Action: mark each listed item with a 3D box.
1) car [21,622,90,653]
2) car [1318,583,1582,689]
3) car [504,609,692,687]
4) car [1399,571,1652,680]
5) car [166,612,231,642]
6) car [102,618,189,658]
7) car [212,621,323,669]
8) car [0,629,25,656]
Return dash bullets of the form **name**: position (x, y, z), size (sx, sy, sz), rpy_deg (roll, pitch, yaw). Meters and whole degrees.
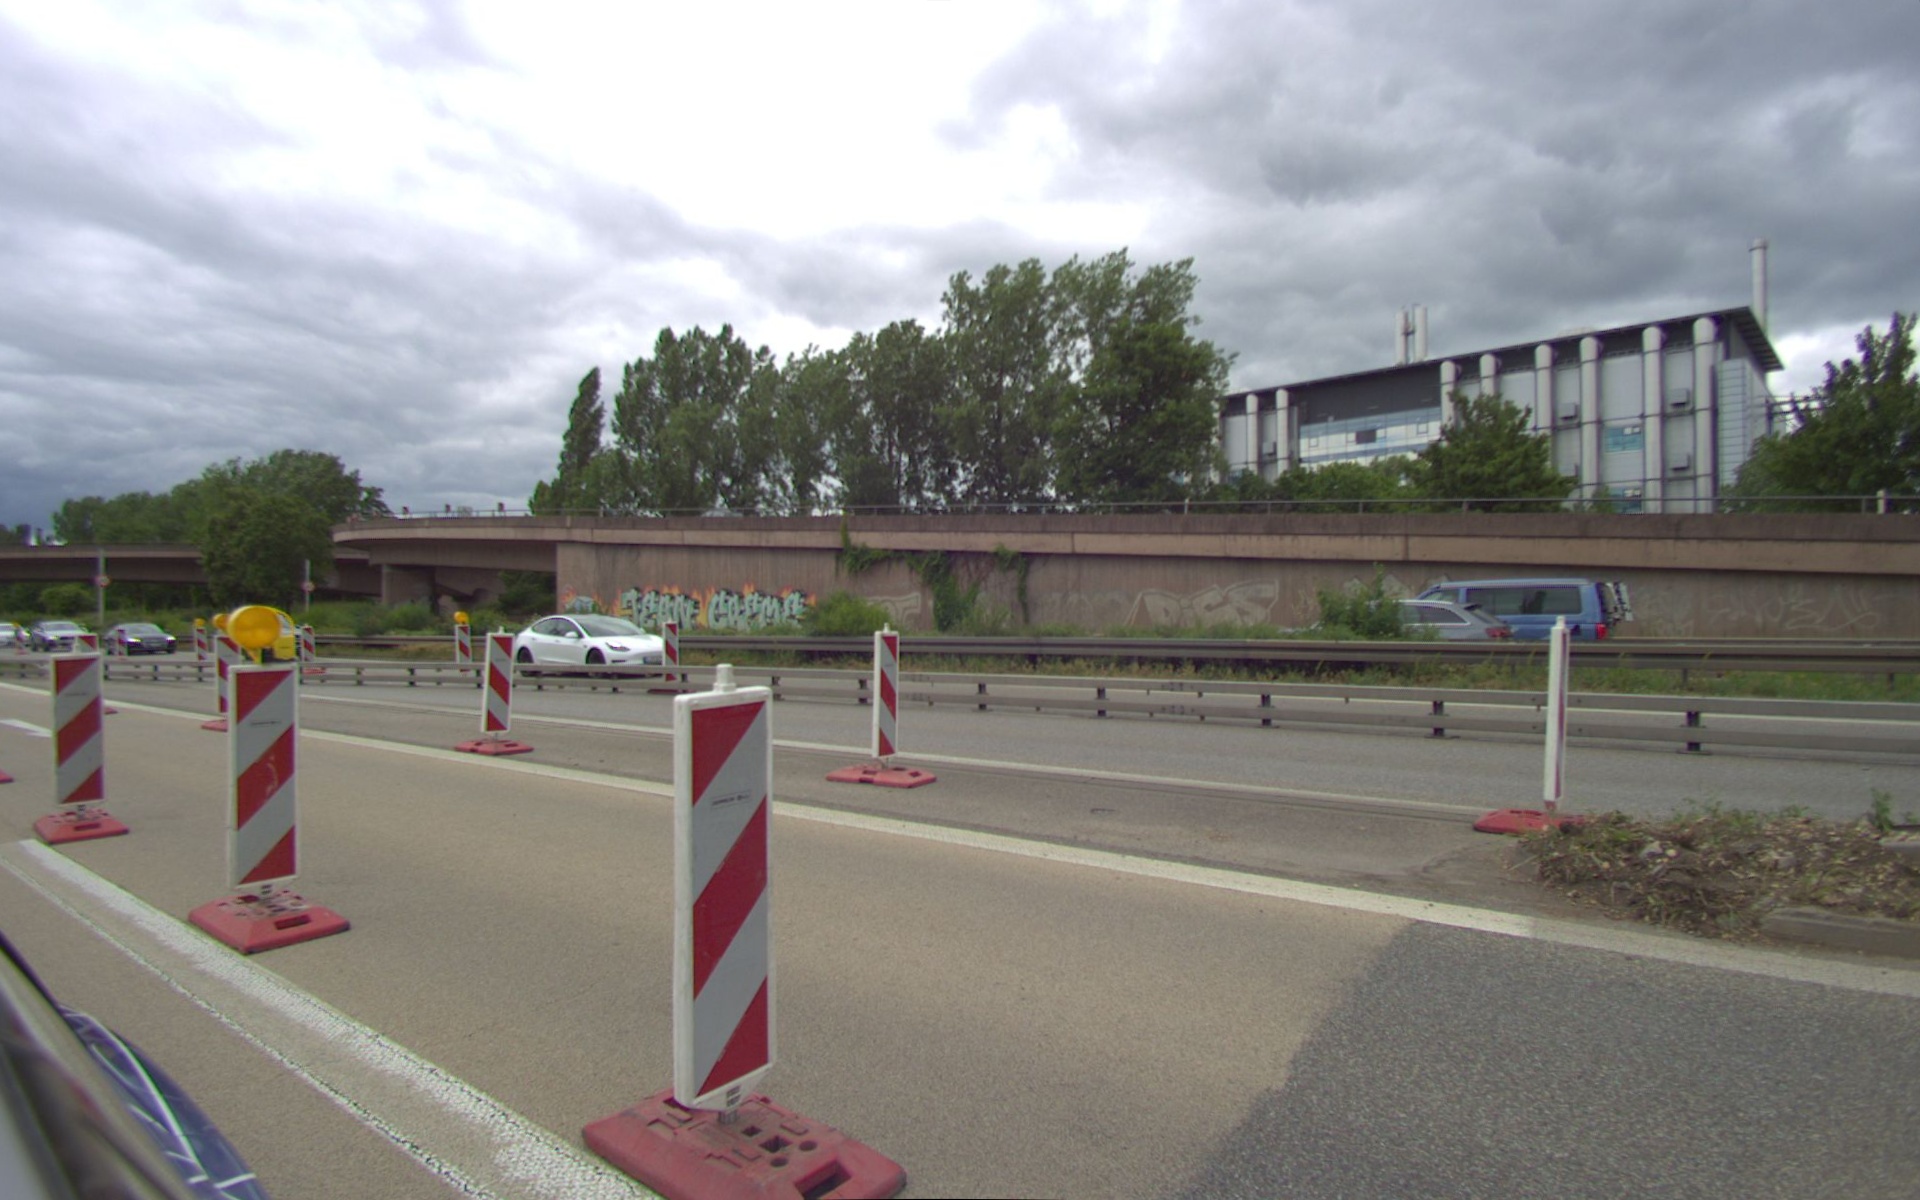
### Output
- **car**: position (-47.164, 1.930, 52.738), size (3.990, 1.523, 1.782), rpy_deg (0, -1, 34)
- **car**: position (8.892, 0.634, 18.499), size (3.995, 1.719, 1.974), rpy_deg (-2, -1, 39)
- **car**: position (-8.379, 1.043, 23.279), size (4.454, 1.553, 1.975), rpy_deg (-1, 1, 38)
- **car**: position (11.629, 0.528, 20.937), size (4.281, 2.029, 1.974), rpy_deg (-2, -1, 39)
- **car**: position (-43.301, 1.524, 57.514), size (4.284, 1.652, 1.837), rpy_deg (-1, 0, 37)
- **car**: position (-36.438, 1.682, 45.278), size (3.989, 1.716, 1.915), rpy_deg (-1, -2, 34)
- **car**: position (-24.450, 1.544, 35.682), size (4.285, 1.522, 1.957), rpy_deg (-1, 1, 37)
- **car**: position (-59.056, 2.576, 62.014), size (3.994, 1.606, 1.974), rpy_deg (-1, -2, 38)
